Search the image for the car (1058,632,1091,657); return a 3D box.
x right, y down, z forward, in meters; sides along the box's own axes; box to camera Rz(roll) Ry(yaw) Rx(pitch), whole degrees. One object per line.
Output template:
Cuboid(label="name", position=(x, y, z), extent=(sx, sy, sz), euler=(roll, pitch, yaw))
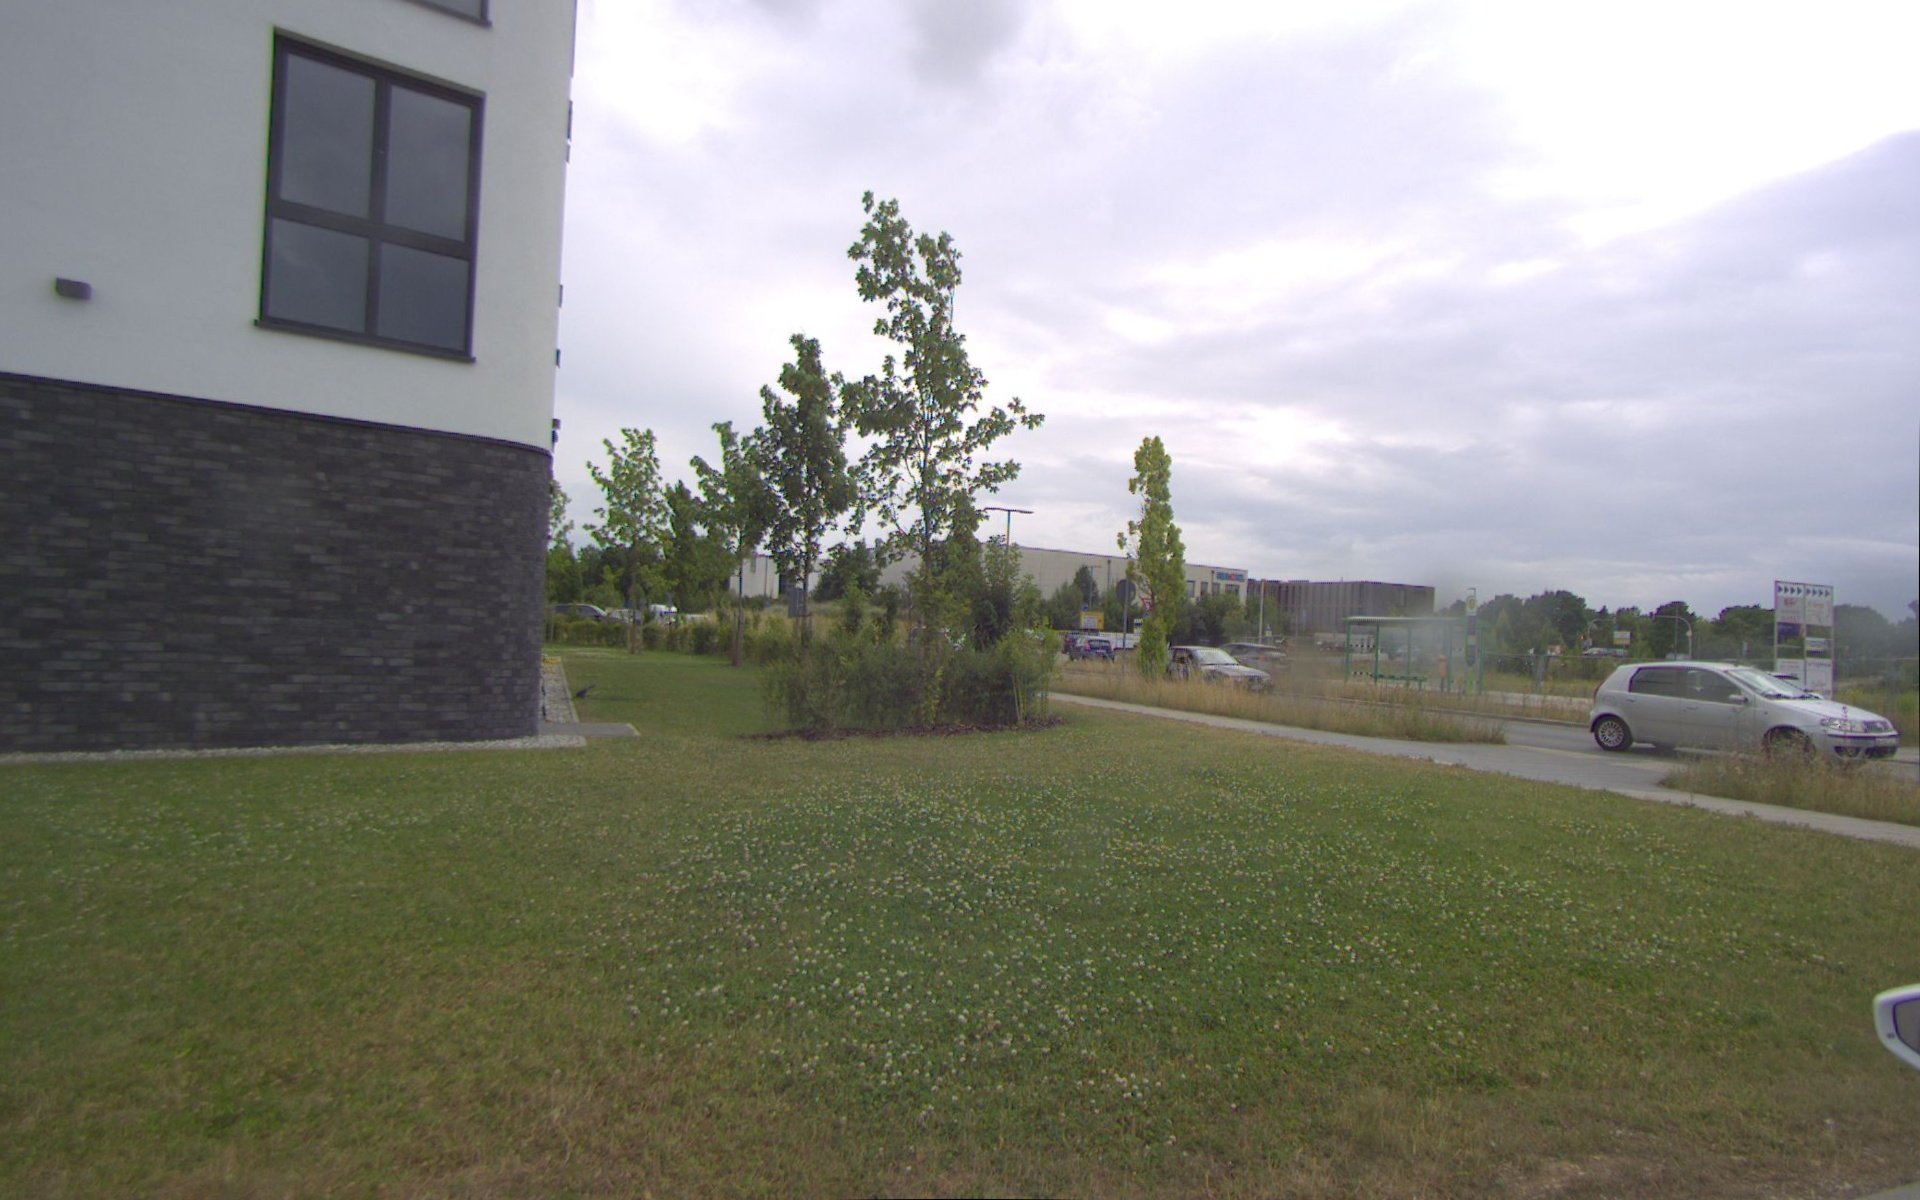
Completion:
Cuboid(label="car", position=(7.253, 2.818, 64.097), extent=(1.684, 1.360, 3.965), euler=(3, -1, 1))

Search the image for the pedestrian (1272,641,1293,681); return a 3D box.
Cuboid(label="pedestrian", position=(14.614, 2.752, 45.522), extent=(0.728, 1.744, 0.651), euler=(3, -1, 12))

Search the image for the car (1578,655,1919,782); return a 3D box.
Cuboid(label="car", position=(11.770, 1.679, 15.166), extent=(1.777, 1.480, 3.792), euler=(3, -1, -25))

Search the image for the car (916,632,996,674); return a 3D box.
Cuboid(label="car", position=(-0.230, 2.201, 42.283), extent=(1.795, 1.583, 4.377), euler=(2, -1, -23))

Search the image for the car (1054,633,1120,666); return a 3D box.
Cuboid(label="car", position=(6.328, 2.457, 50.338), extent=(1.692, 1.360, 3.947), euler=(4, -1, -19))

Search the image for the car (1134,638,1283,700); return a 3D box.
Cuboid(label="car", position=(6.684, 1.832, 27.474), extent=(1.734, 1.404, 4.279), euler=(4, -2, -22))

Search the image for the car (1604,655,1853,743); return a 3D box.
Cuboid(label="car", position=(16.870, 2.124, 22.286), extent=(1.733, 1.500, 4.034), euler=(4, -1, -22))

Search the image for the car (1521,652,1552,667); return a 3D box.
Cuboid(label="car", position=(69.106, 7.144, 120.432), extent=(3.599, 1.505, 1.667), euler=(4, -1, -30))

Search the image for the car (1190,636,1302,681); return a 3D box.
Cuboid(label="car", position=(10.389, 2.113, 36.803), extent=(1.695, 1.360, 4.040), euler=(4, -1, -24))
